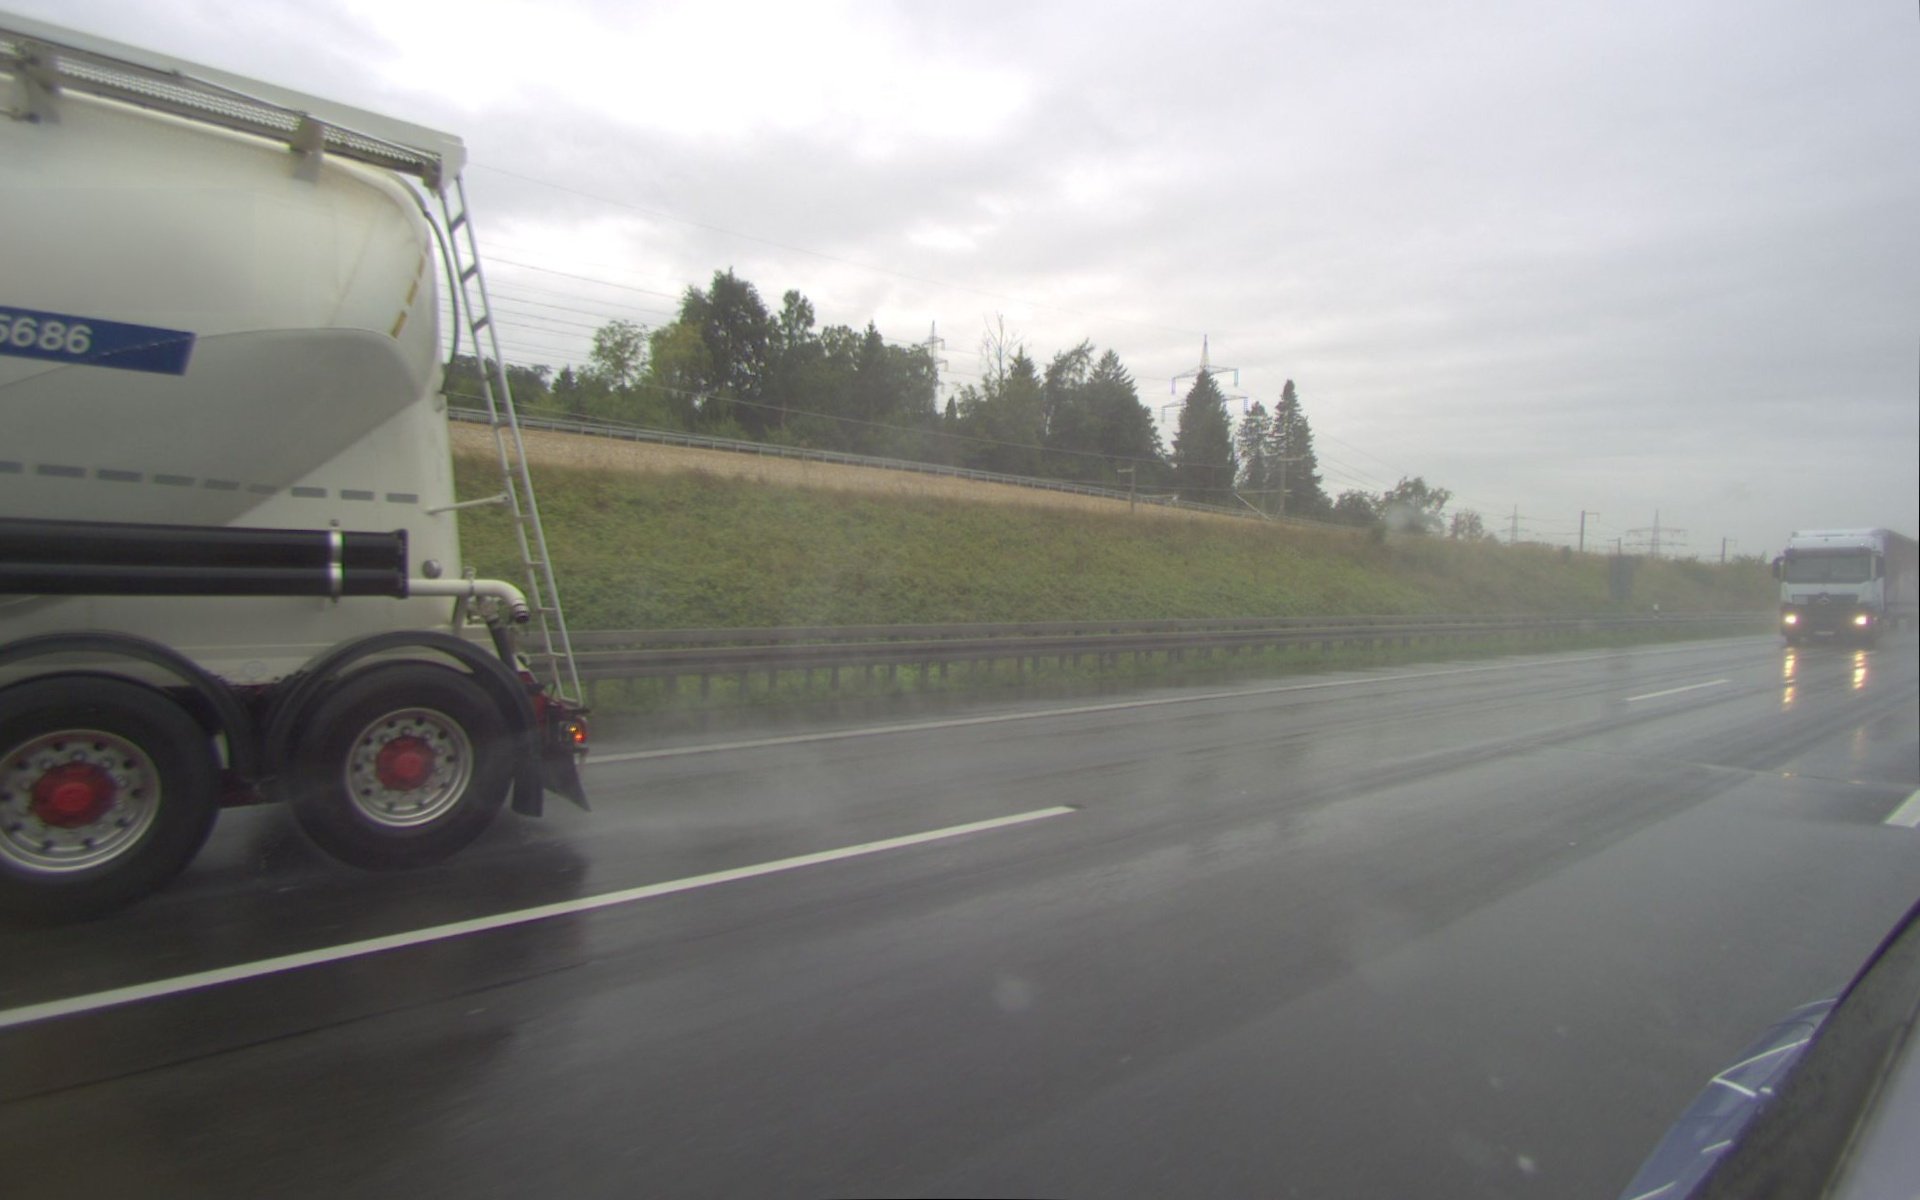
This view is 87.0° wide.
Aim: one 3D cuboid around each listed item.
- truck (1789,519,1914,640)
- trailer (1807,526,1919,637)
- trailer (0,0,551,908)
[{"bbox_3d":[31.538,-0.643,35.728,6.089,3.939,2.456,1,0,-40],"label":"truck"},{"bbox_3d":[37.540,-0.549,40.906,16.252,3.813,2.484,1,0,-41],"label":"trailer"},{"bbox_3d":[-7.154,-0.771,2.873,10.873,3.932,2.501,1,0,-41],"label":"trailer"}]
